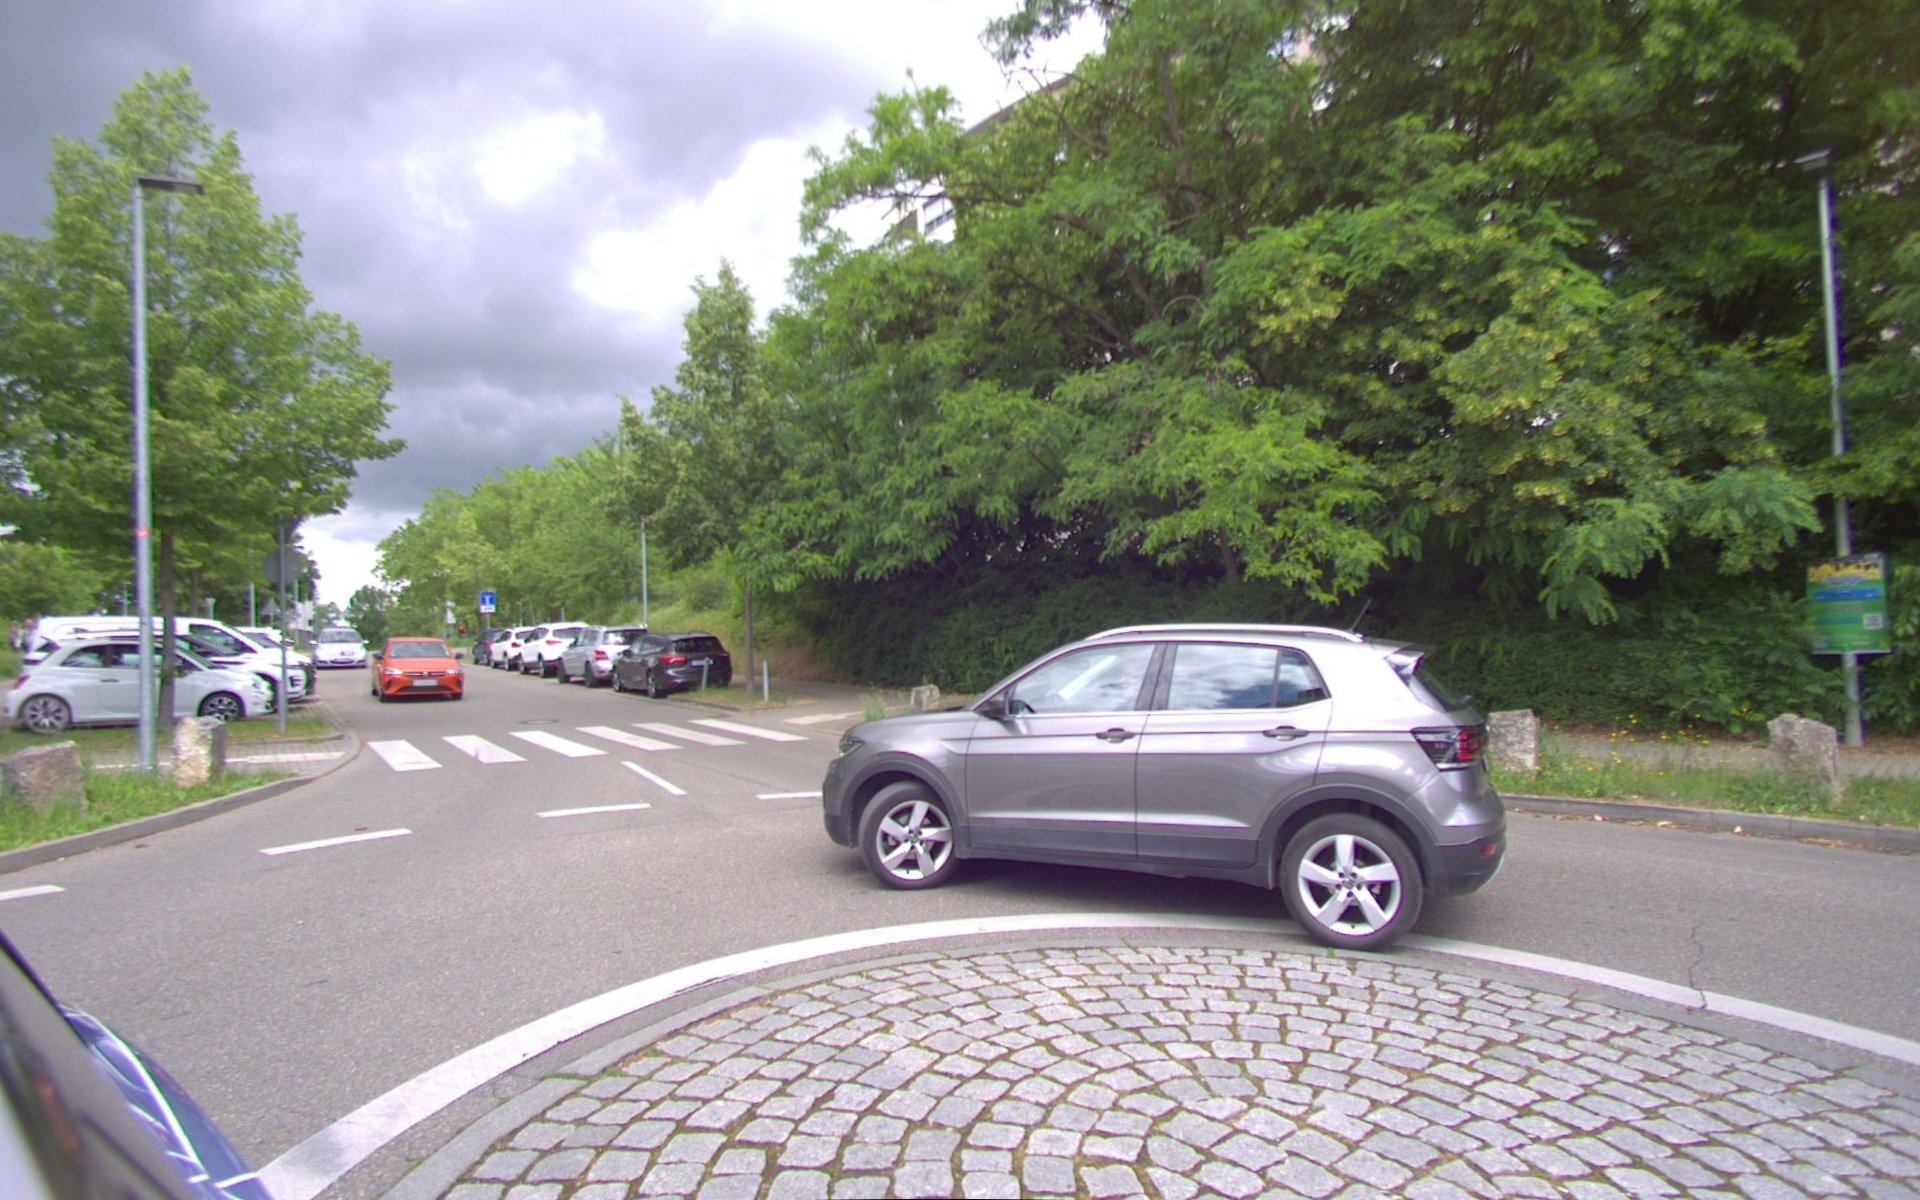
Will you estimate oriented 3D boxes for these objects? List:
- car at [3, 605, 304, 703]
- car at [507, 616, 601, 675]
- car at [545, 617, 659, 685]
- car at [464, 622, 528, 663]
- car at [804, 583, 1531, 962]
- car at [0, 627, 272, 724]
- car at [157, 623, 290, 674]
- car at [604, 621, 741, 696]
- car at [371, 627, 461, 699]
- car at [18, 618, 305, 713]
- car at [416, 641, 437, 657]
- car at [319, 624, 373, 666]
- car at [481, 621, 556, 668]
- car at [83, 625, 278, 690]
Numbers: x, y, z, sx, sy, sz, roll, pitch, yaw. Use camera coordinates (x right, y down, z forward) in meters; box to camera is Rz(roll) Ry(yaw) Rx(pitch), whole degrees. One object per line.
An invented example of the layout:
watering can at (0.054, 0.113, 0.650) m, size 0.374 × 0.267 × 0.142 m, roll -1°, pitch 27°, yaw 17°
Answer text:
car at (-16.658, 1.110, 21.217) m, size 4.711 × 1.845 × 1.847 m, roll 2°, pitch -3°, yaw -37°
car at (-13.320, 1.451, 33.060) m, size 1.783 × 1.677 × 4.447 m, roll -4°, pitch 0°, yaw -36°
car at (-10.120, 1.359, 28.387) m, size 1.775 × 1.627 × 4.489 m, roll -4°, pitch 2°, yaw -35°
car at (-19.292, 1.730, 41.955) m, size 1.667 × 1.498 × 3.963 m, roll -4°, pitch 0°, yaw -35°
car at (1.147, 0.786, 6.142) m, size 3.995 × 1.630 × 1.704 m, roll -1°, pitch -2°, yaw 31°
car at (-13.784, 1.238, 17.128) m, size 3.465 × 1.472 × 1.743 m, roll 3°, pitch -3°, yaw -35°
car at (-25.590, 1.669, 35.317) m, size 3.620 × 1.659 × 1.857 m, roll 1°, pitch -2°, yaw -33°
car at (-6.913, 1.329, 23.987) m, size 1.667 × 1.476 × 4.467 m, roll -4°, pitch 1°, yaw -35°
car at (-13.059, 1.439, 24.202) m, size 1.730 × 1.527 × 4.012 m, roll -1°, pitch -1°, yaw -30°
car at (-14.945, 1.187, 19.221) m, size 4.096 × 1.614 × 1.743 m, roll 1°, pitch -3°, yaw -37°
car at (-55.560, 5.102, 105.443) m, size 1.730 × 1.527 × 4.012 m, roll -1°, pitch -1°, yaw -30°
car at (-24.647, 1.777, 40.701) m, size 1.730 × 1.527 × 4.012 m, roll -1°, pitch -1°, yaw -30°
car at (-16.450, 1.635, 37.603) m, size 1.667 × 1.522 × 4.240 m, roll -4°, pitch 0°, yaw -35°
car at (-19.692, 1.426, 25.750) m, size 3.774 × 1.531 × 1.916 m, roll 2°, pitch -3°, yaw -36°
